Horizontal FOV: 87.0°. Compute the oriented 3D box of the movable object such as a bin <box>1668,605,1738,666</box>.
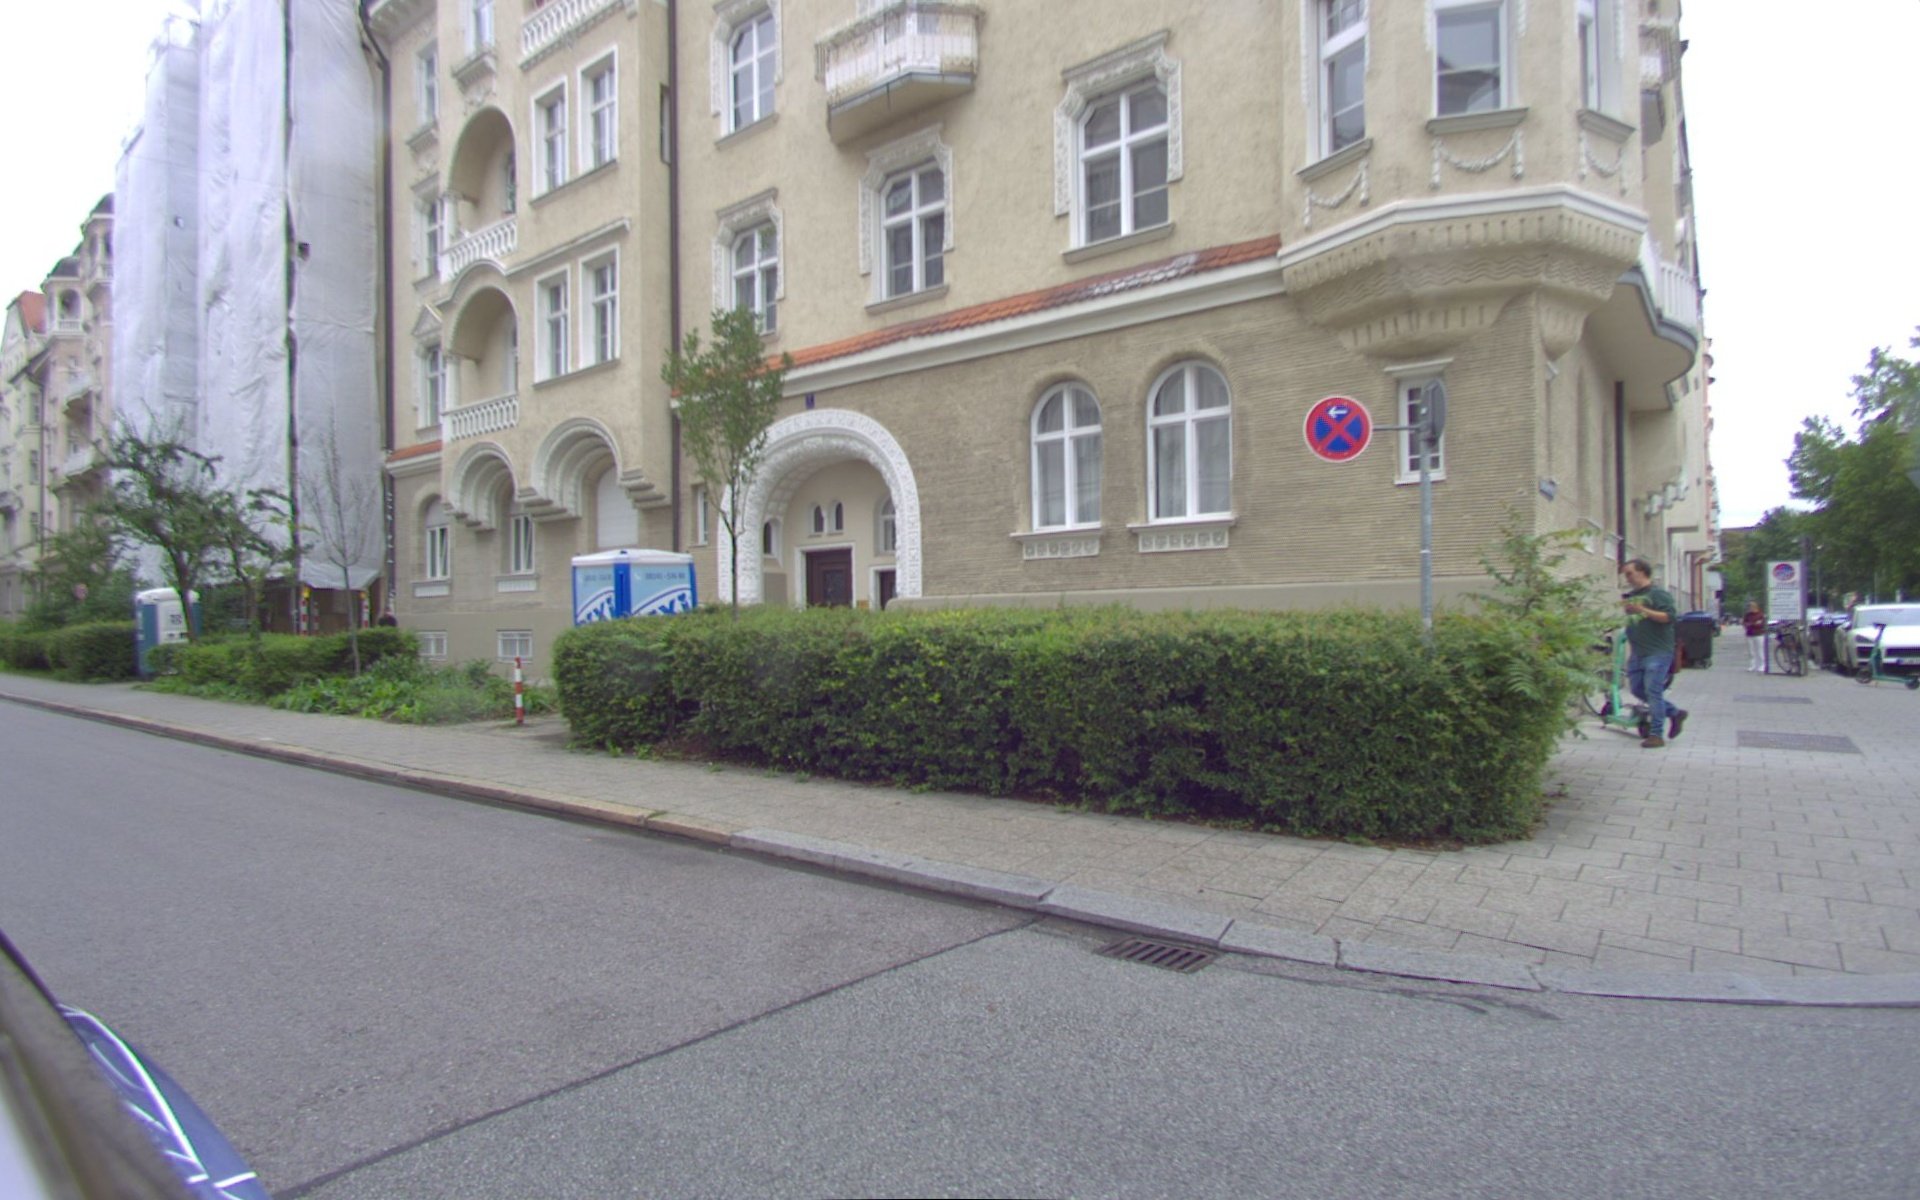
[{"bbox_3d":[18.636,0.880,25.382,1.343,1.468,1.148,-2,-2,38],"label":"movable object such as a bin"}]

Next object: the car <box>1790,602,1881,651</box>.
[{"bbox_3d":[30.217,0.885,35.047,1.996,1.608,4.160,-1,-1,36],"label":"car"}]

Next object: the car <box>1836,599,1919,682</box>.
[{"bbox_3d":[21.197,0.843,22.645,1.996,1.704,4.751,-1,-1,36],"label":"car"}]

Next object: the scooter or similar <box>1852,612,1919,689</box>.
[{"bbox_3d":[17.794,0.929,19.024,0.697,1.405,1.359,-1,-1,-12],"label":"scooter or similar"}]

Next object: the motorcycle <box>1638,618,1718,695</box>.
[{"bbox_3d":[12.169,0.906,17.120,1.005,1.189,2.531,-2,-2,37],"label":"motorcycle"}]

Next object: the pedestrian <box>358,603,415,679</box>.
[{"bbox_3d":[-13.729,0.974,24.239,0.947,1.765,0.905,-2,-2,38],"label":"pedestrian"}]

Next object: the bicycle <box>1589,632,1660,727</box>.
[{"bbox_3d":[8.047,0.914,12.223,0.559,1.030,1.859,-2,-2,37],"label":"bicycle"}]

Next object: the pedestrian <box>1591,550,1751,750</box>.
[{"bbox_3d":[6.854,0.475,9.826,1.050,1.824,0.883,-2,-2,24],"label":"pedestrian"}]

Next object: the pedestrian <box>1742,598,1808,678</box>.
[{"bbox_3d":[19.258,0.881,23.950,1.131,1.818,1.255,-2,-2,38],"label":"pedestrian"}]

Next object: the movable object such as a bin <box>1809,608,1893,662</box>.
[{"bbox_3d":[23.413,0.914,26.644,1.560,1.360,1.518,-2,-1,39],"label":"movable object such as a bin"}]

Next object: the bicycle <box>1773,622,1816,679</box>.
[{"bbox_3d":[18.128,1.069,22.004,0.549,1.158,1.823,-2,-1,35],"label":"bicycle"}]

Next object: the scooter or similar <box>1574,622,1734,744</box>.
[{"bbox_3d":[7.189,0.820,10.558,0.520,1.175,1.359,-1,-1,-12],"label":"scooter or similar"}]

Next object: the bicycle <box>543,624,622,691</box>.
[{"bbox_3d":[-7.707,1.154,20.637,1.701,1.285,0.737,-2,-2,39],"label":"bicycle"}]
